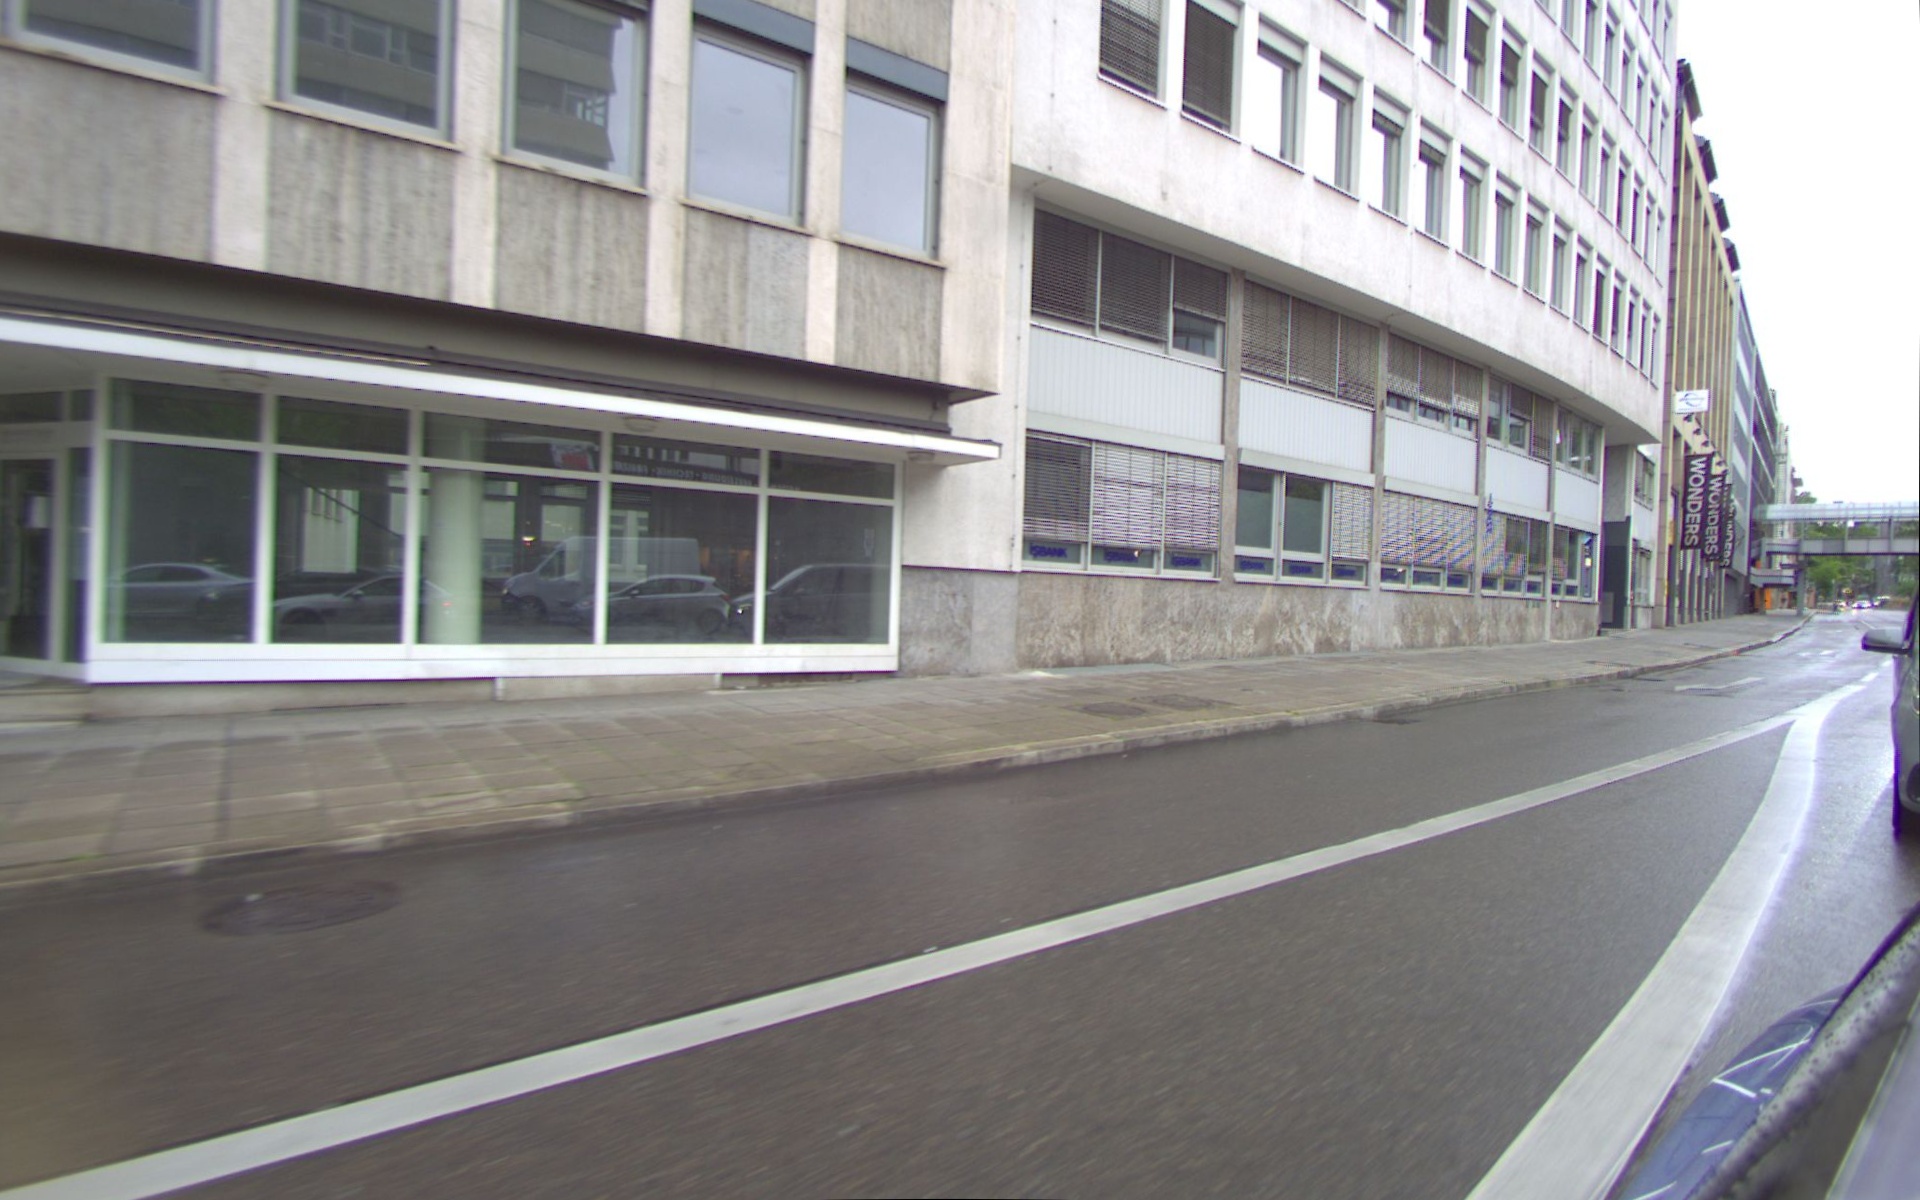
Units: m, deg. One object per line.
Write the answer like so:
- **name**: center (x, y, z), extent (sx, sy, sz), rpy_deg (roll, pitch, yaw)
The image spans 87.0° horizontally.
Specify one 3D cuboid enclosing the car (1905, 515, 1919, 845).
- **car**: center (7.843, 0.452, 6.901), extent (1.912, 1.879, 4.945), rpy_deg (0, 0, 45)
